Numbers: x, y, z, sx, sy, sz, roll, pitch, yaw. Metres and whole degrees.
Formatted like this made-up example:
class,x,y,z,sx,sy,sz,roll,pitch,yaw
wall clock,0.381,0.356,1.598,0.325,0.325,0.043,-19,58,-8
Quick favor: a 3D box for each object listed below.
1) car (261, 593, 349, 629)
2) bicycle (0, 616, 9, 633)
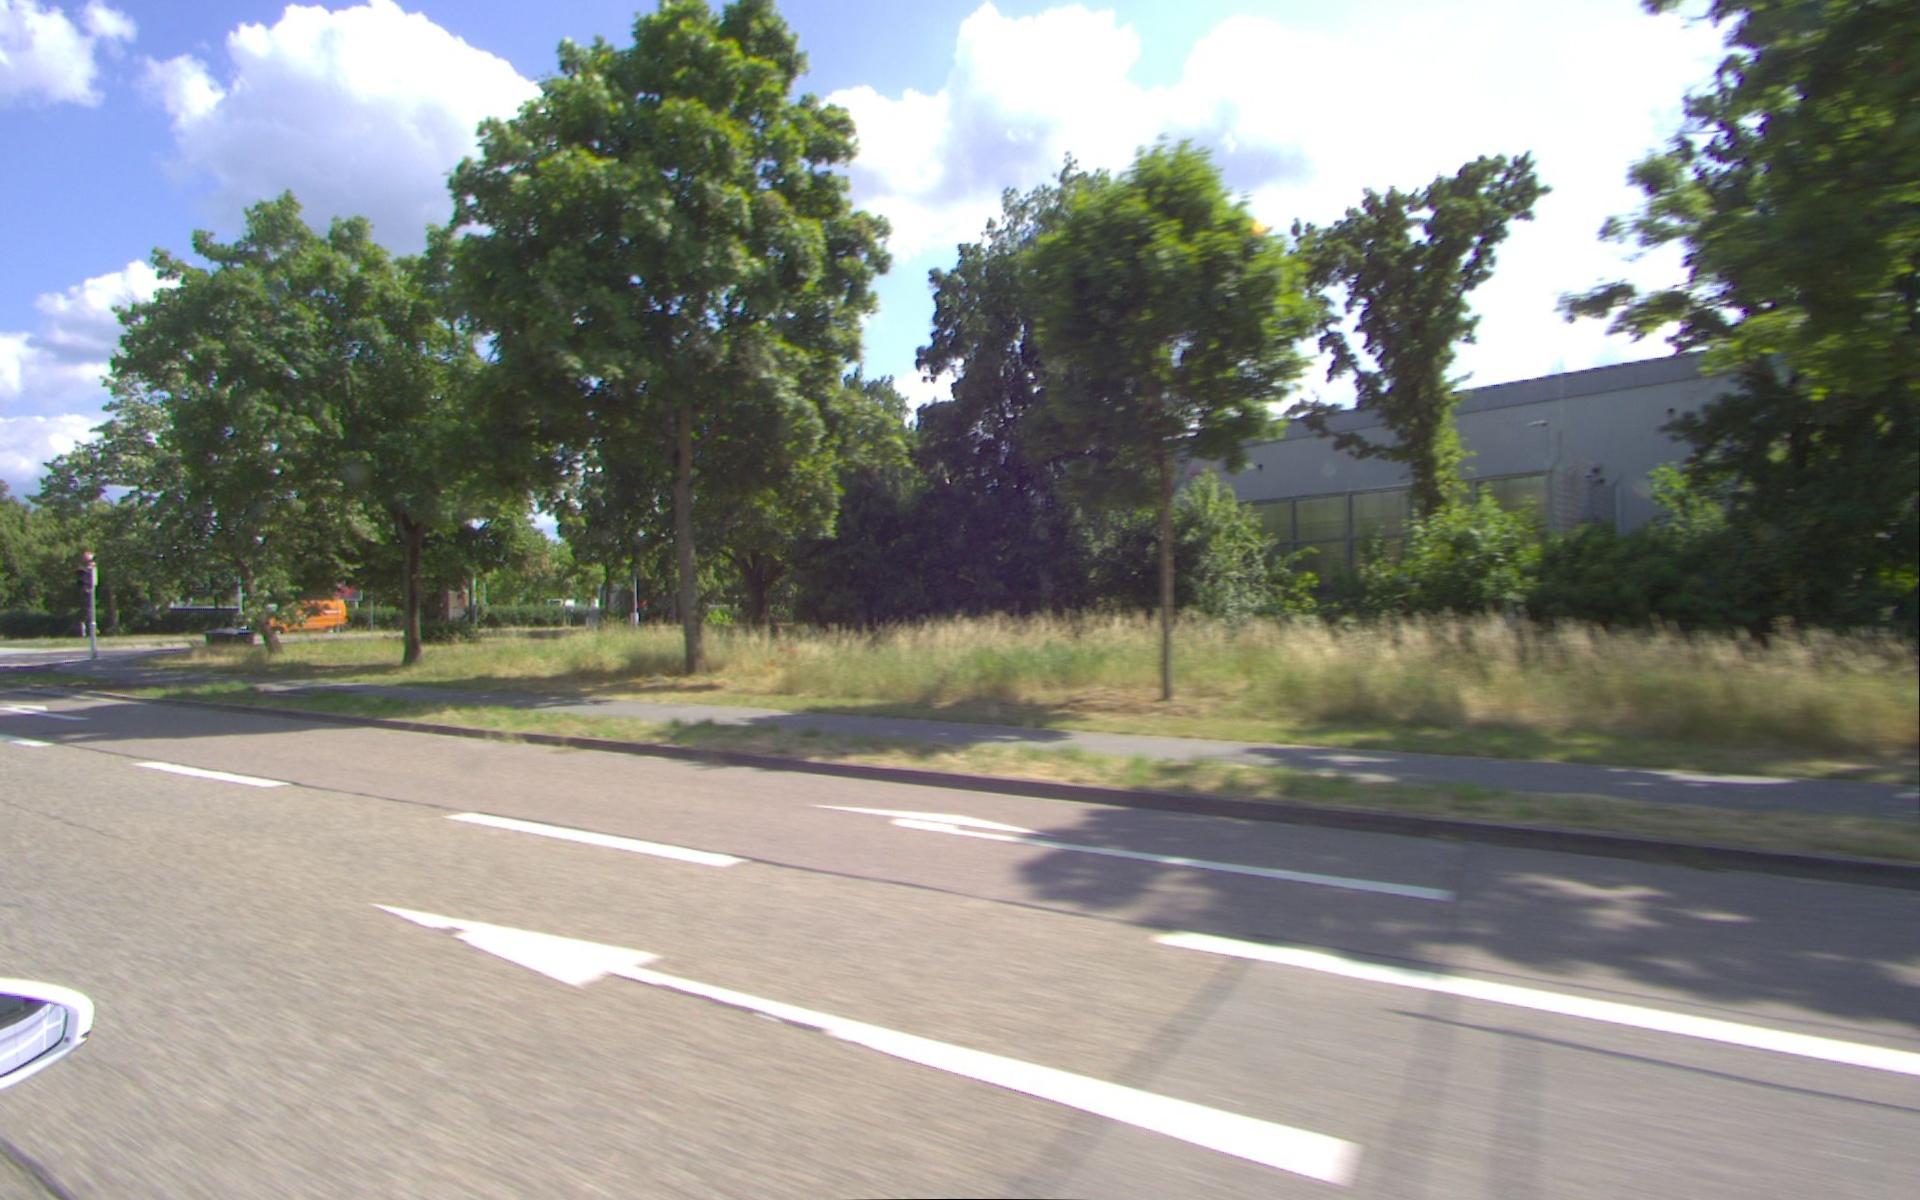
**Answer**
class,x,y,z,sx,sy,sz,roll,pitch,yaw
car,-44.439,0.800,68.014,4.806,2.253,2.194,2,-3,-39
bicycle,-62.219,1.579,63.965,1.973,1.108,0.683,0,-1,-28
